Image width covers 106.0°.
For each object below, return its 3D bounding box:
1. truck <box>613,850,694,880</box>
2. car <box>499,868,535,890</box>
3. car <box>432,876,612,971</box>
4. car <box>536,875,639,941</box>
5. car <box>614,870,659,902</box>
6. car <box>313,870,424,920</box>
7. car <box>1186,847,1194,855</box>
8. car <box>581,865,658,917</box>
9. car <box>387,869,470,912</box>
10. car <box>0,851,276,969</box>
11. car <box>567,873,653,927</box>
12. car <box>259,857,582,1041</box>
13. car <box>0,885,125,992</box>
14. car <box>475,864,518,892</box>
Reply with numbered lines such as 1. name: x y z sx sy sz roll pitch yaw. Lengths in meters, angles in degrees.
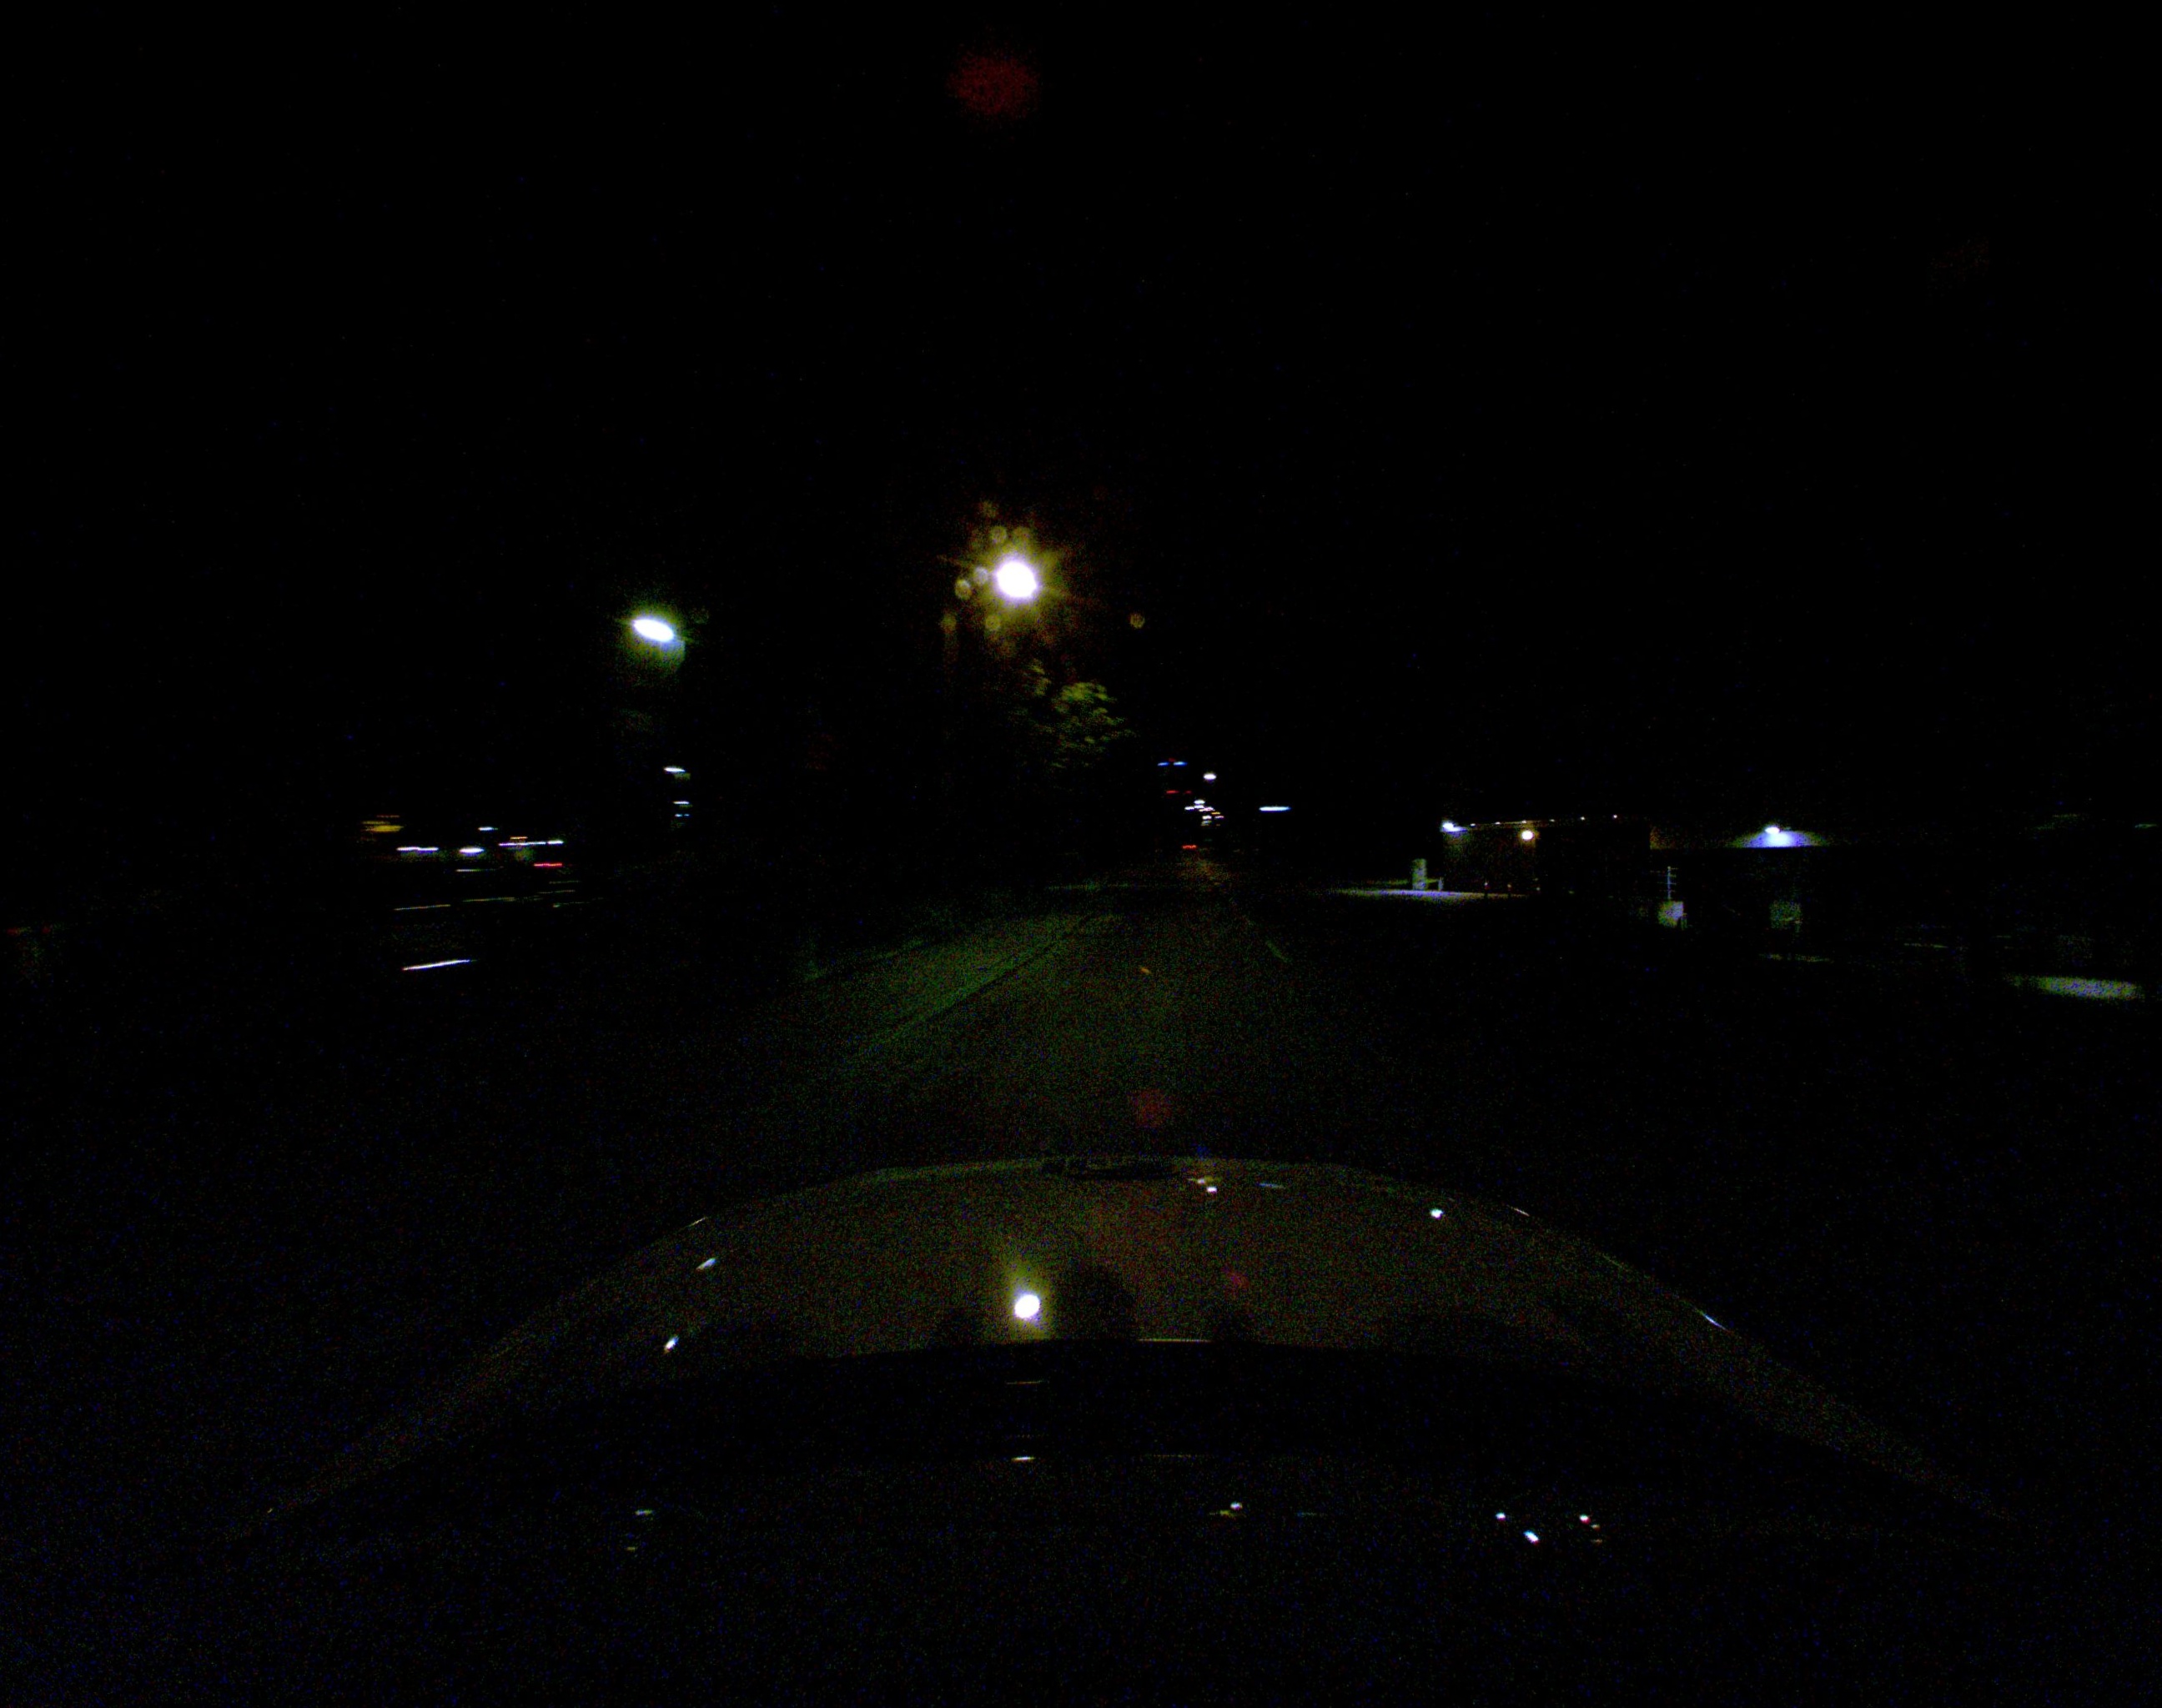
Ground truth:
1. truck: -41.204 1.100 78.613 6.816 2.844 1.981 1 -1 -29
2. car: -40.697 1.824 58.814 1.616 1.516 3.774 0 -1 -27
3. car: -9.586 1.093 14.325 1.973 1.383 3.966 0 -1 -25
4. car: -11.558 1.197 19.295 1.707 1.392 3.597 0 -1 -25
5. car: -21.842 1.553 40.146 1.767 1.445 3.991 -1 -1 -26
6. car: -23.413 1.310 26.930 1.714 1.510 4.064 1 -2 -26
7. car: 26.053 -0.727 194.056 1.914 1.854 4.008 -1 -1 7
8. car: -17.078 1.320 30.343 2.050 1.694 4.841 -2 0 -25
9. car: -25.744 1.403 32.285 1.685 1.566 4.070 0 -1 -26
10. car: -18.296 0.971 16.036 2.004 1.955 4.765 0 -1 -26
11. car: -14.630 1.349 25.502 1.890 1.415 4.435 -2 0 -25
12. car: -7.335 0.889 9.591 1.893 1.603 4.075 -1 0 -24
13. car: -15.859 1.185 11.491 1.701 1.398 4.041 0 -1 -28
14. car: -38.299 1.563 53.406 1.646 1.760 3.928 0 -1 -26
